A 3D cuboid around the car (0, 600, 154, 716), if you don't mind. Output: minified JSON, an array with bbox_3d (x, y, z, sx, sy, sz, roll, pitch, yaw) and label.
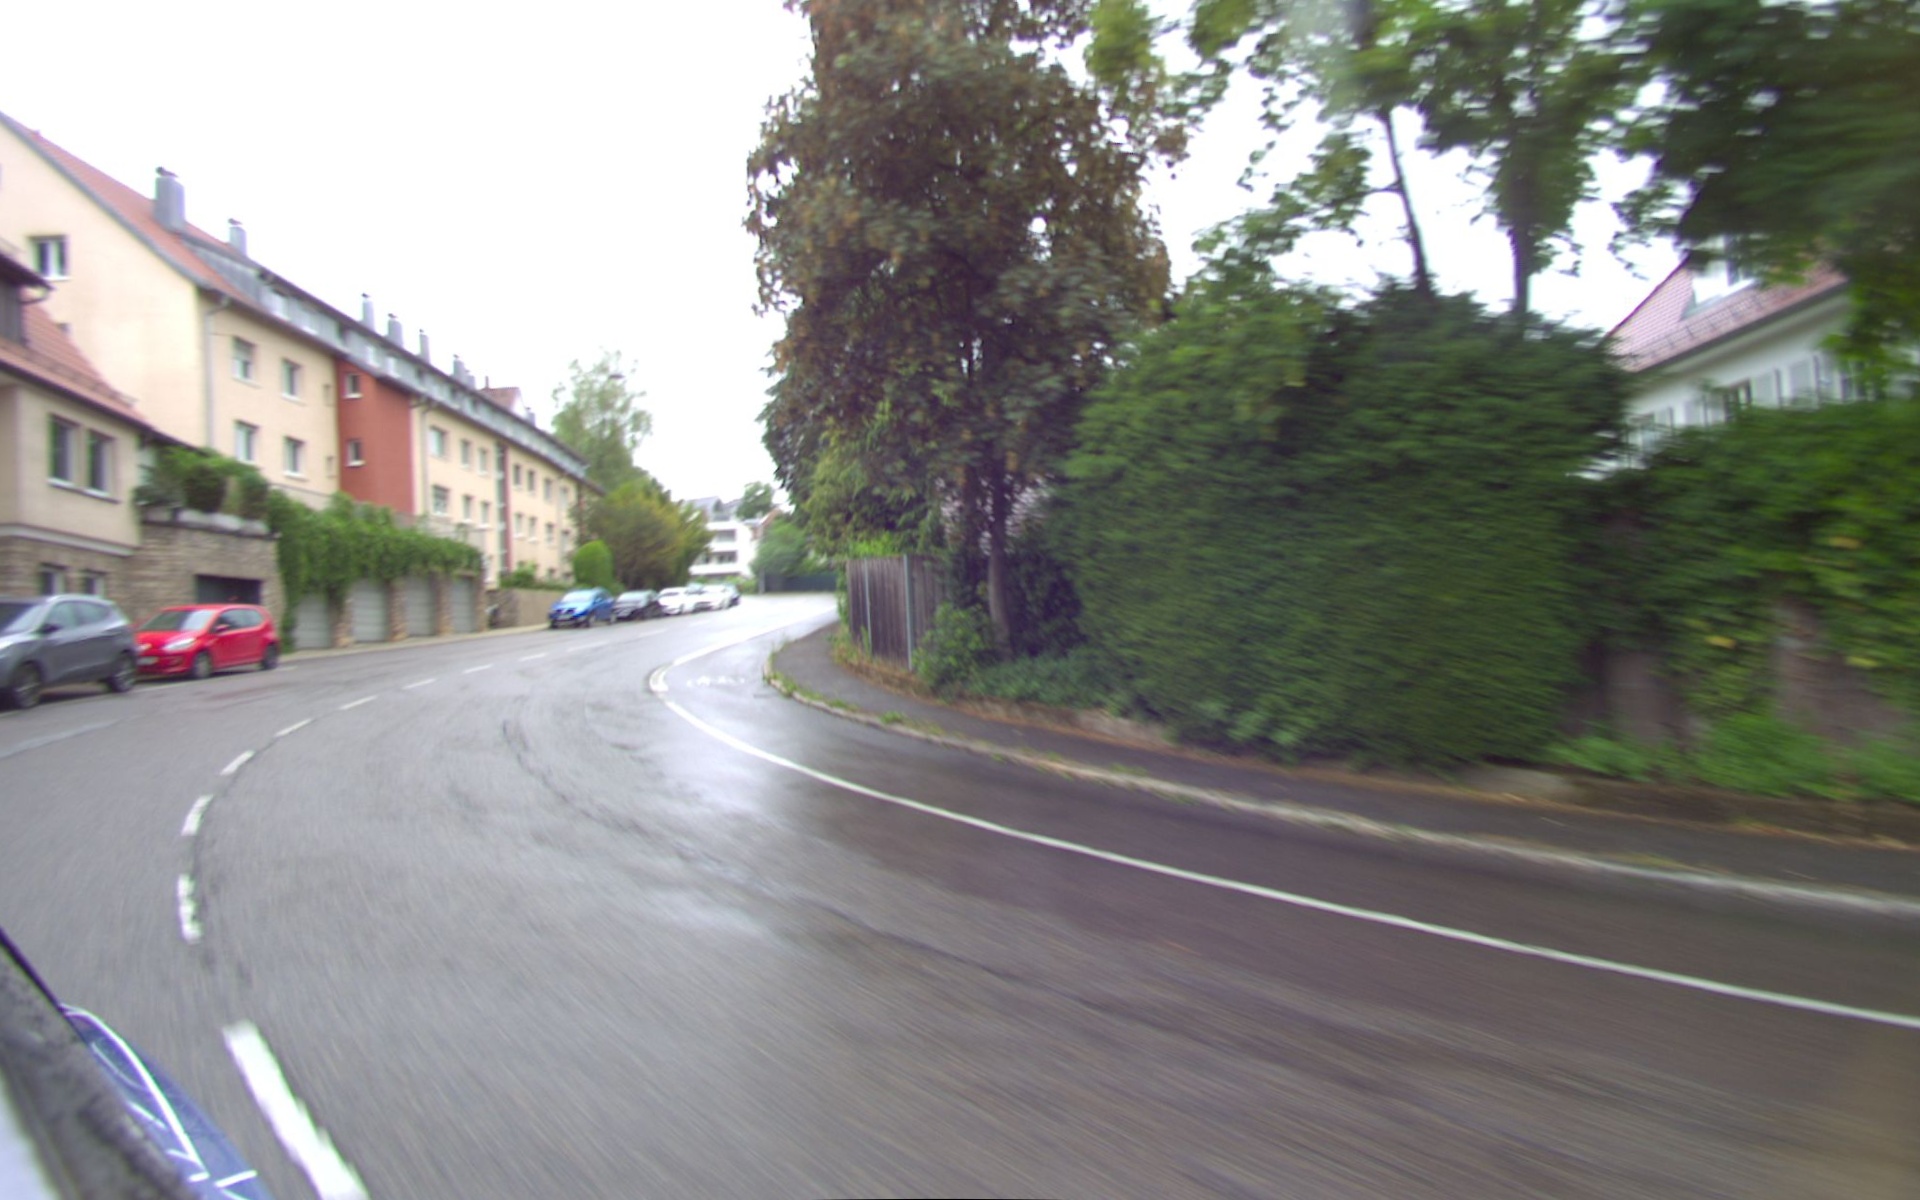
[{"bbox_3d":[-14.646,0.844,15.802,1.593,1.617,4.424,-1,-1,-15],"label":"car"}]

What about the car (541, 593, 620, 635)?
[{"bbox_3d":[-15.861,0.556,42.511,1.715,1.605,4.254,-3,0,0],"label":"car"}]

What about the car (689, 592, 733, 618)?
[{"bbox_3d":[-15.785,0.291,64.361,1.759,1.446,4.570,-4,0,-2],"label":"car"}]

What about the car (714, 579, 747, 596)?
[{"bbox_3d":[-22.272,-1.198,98.115,1.628,1.430,3.810,-7,3,-38],"label":"car"}]

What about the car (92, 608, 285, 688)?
[{"bbox_3d":[-15.831,0.927,21.004,1.595,1.446,3.587,-1,0,-7],"label":"car"}]

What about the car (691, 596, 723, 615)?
[{"bbox_3d":[-20.652,0.440,82.501,1.658,1.483,3.751,1,-1,-28],"label":"car"}]

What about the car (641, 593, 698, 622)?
[{"bbox_3d":[-15.709,0.382,54.921,1.787,1.466,4.254,-3,0,0],"label":"car"}]

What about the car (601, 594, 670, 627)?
[{"bbox_3d":[-15.539,0.465,48.711,1.673,1.466,4.249,-3,0,4],"label":"car"}]
